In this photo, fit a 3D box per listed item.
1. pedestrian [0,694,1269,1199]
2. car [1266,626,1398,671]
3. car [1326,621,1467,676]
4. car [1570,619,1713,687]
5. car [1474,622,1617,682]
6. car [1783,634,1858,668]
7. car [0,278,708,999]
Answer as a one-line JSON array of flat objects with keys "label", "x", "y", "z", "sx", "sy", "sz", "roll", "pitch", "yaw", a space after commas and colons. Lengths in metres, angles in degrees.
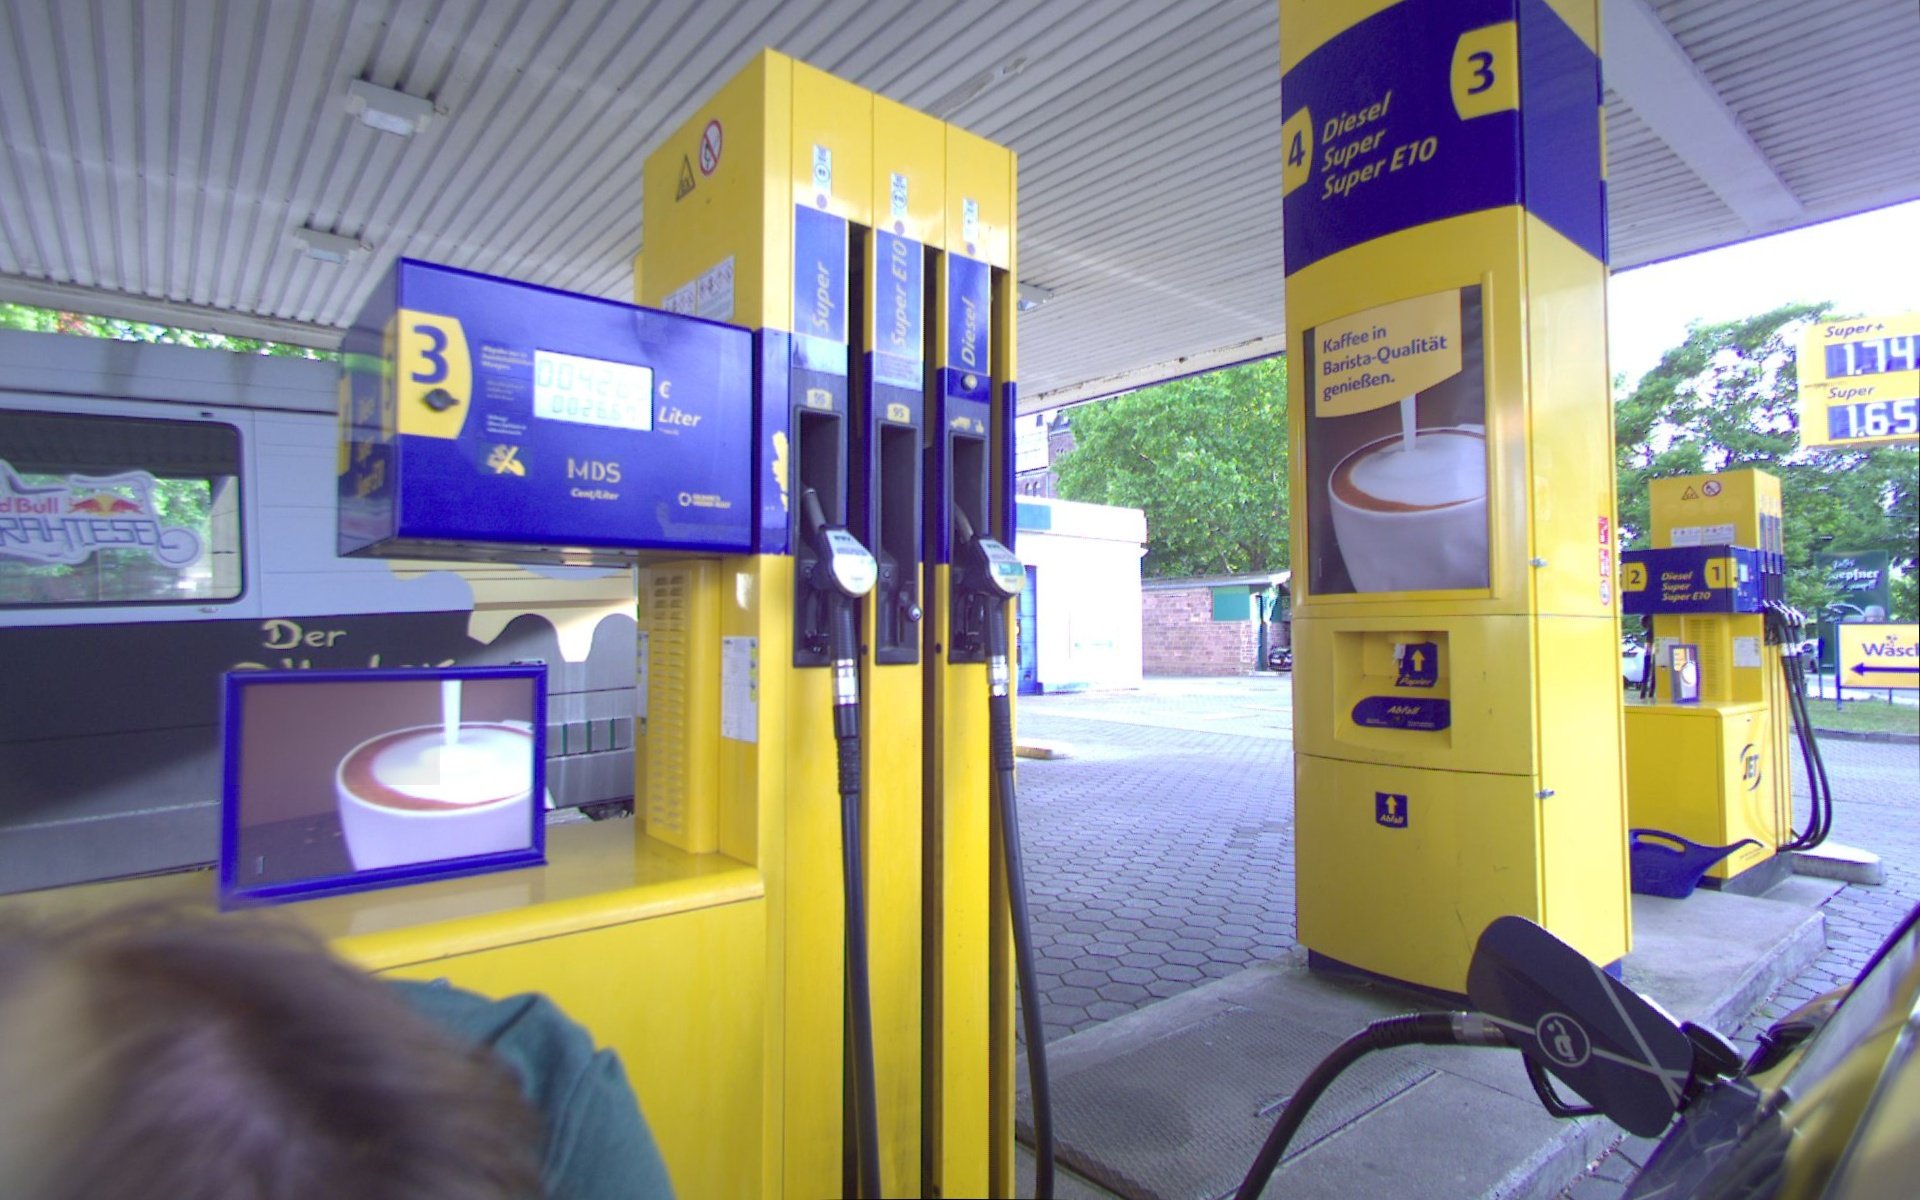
[{"label": "pedestrian", "x": -0.343, "y": 0.752, "z": 0.545, "sx": 0.662, "sy": 1.298, "sz": 0.751, "roll": 0, "pitch": 0, "yaw": -41}, {"label": "car", "x": 12.682, "y": 1.655, "z": 34.426, "sx": 4.303, "sy": 1.393, "sz": 1.777, "roll": 2, "pitch": -1, "yaw": -28}, {"label": "car", "x": 13.879, "y": 1.532, "z": 32.135, "sx": 4.303, "sy": 1.622, "sz": 1.777, "roll": 2, "pitch": -1, "yaw": -28}, {"label": "car", "x": 18.348, "y": 1.447, "z": 27.201, "sx": 4.308, "sy": 1.622, "sz": 1.774, "roll": 4, "pitch": -4, "yaw": -35}, {"label": "car", "x": 17.838, "y": 1.590, "z": 30.800, "sx": 4.303, "sy": 1.622, "sz": 1.776, "roll": 4, "pitch": -4, "yaw": -28}, {"label": "car", "x": 38.426, "y": 2.277, "z": 45.280, "sx": 1.673, "sy": 1.452, "sz": 3.395, "roll": -2, "pitch": -3, "yaw": 26}, {"label": "car", "x": -4.117, "y": 0.163, "z": 4.892, "sx": 5.197, "sy": 2.726, "sz": 2.258, "roll": 1, "pitch": -2, "yaw": -39}]
